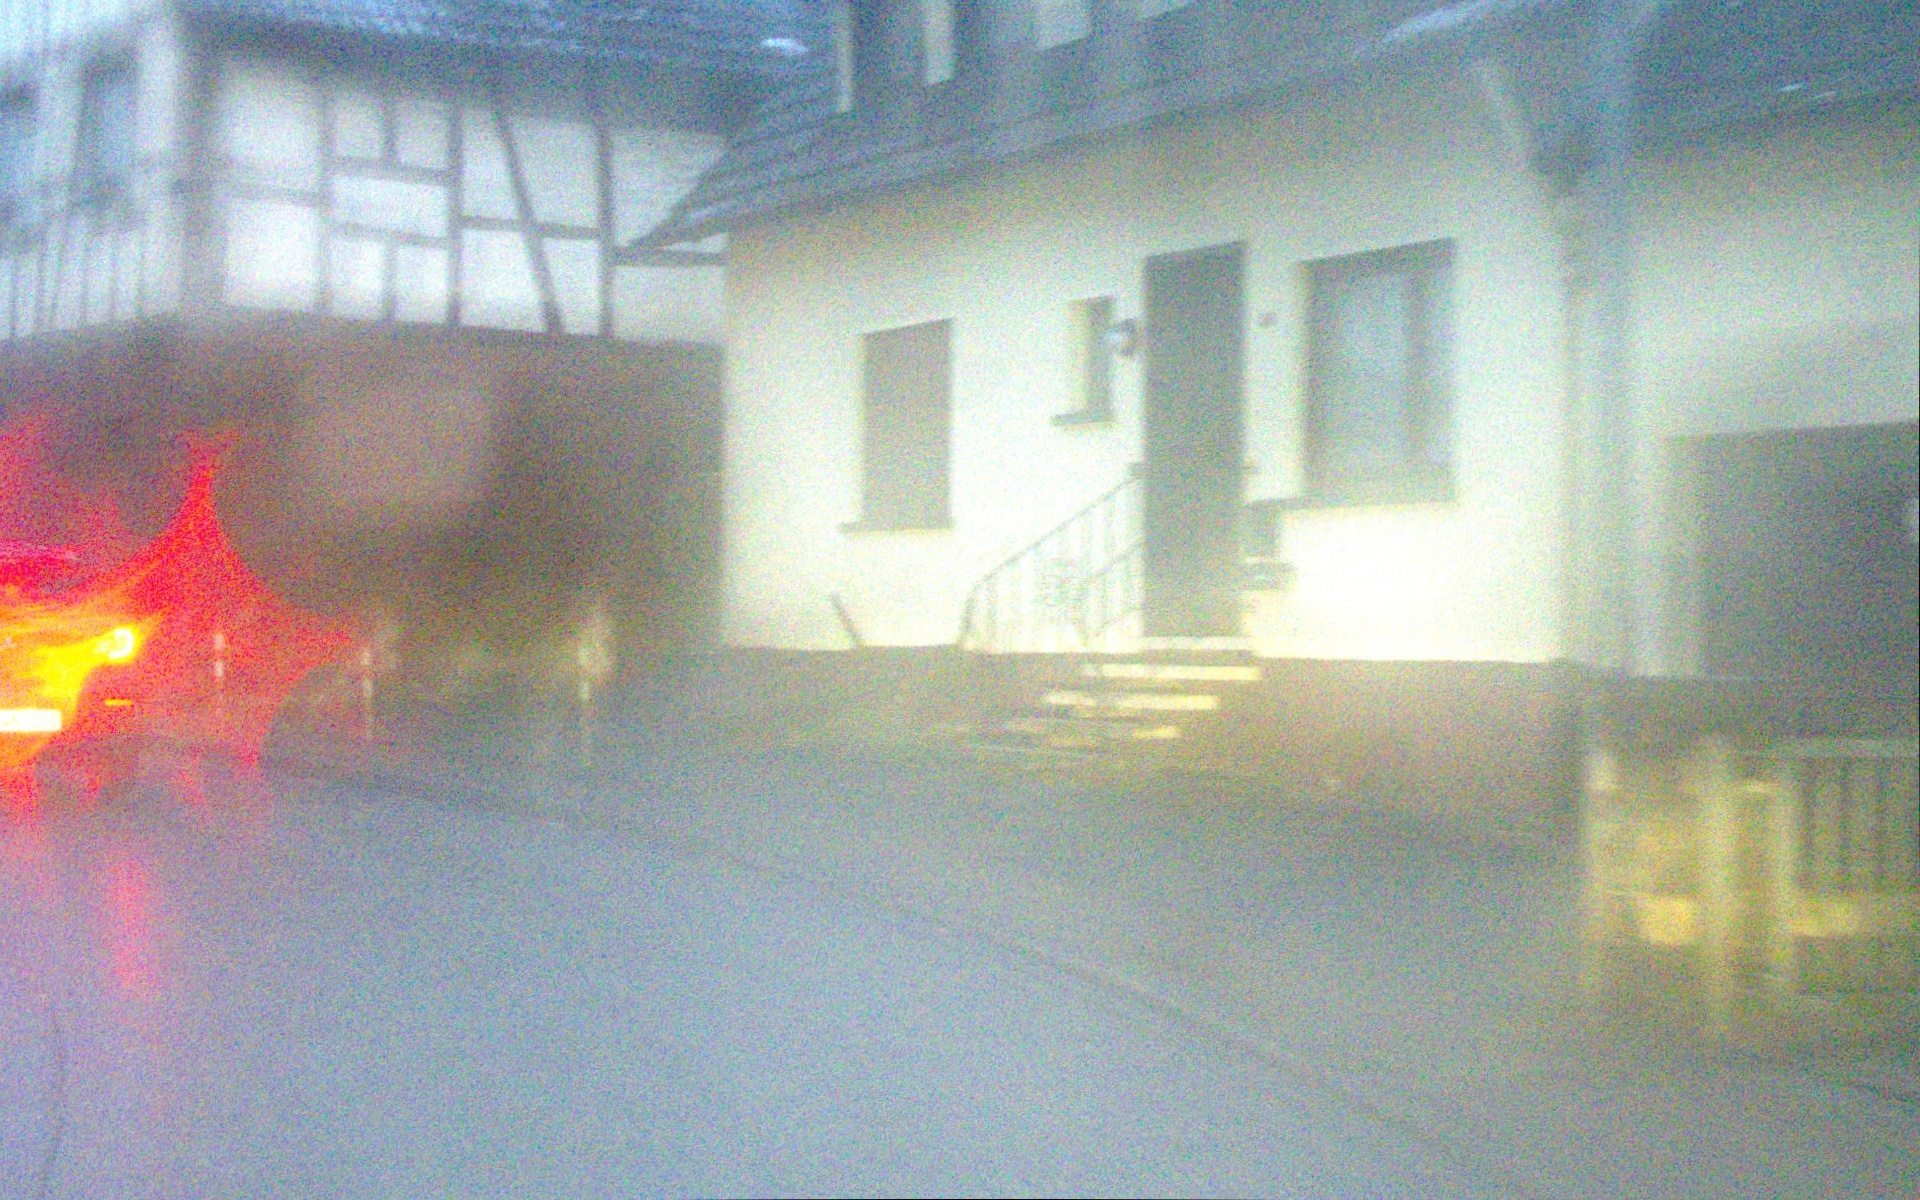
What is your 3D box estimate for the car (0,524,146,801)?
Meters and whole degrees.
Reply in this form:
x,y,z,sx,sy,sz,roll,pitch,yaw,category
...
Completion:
x,y,z,sx,sy,sz,roll,pitch,yaw,category
-6.015,0.281,19.711,1.546,1.461,3.699,1,1,-31,car
